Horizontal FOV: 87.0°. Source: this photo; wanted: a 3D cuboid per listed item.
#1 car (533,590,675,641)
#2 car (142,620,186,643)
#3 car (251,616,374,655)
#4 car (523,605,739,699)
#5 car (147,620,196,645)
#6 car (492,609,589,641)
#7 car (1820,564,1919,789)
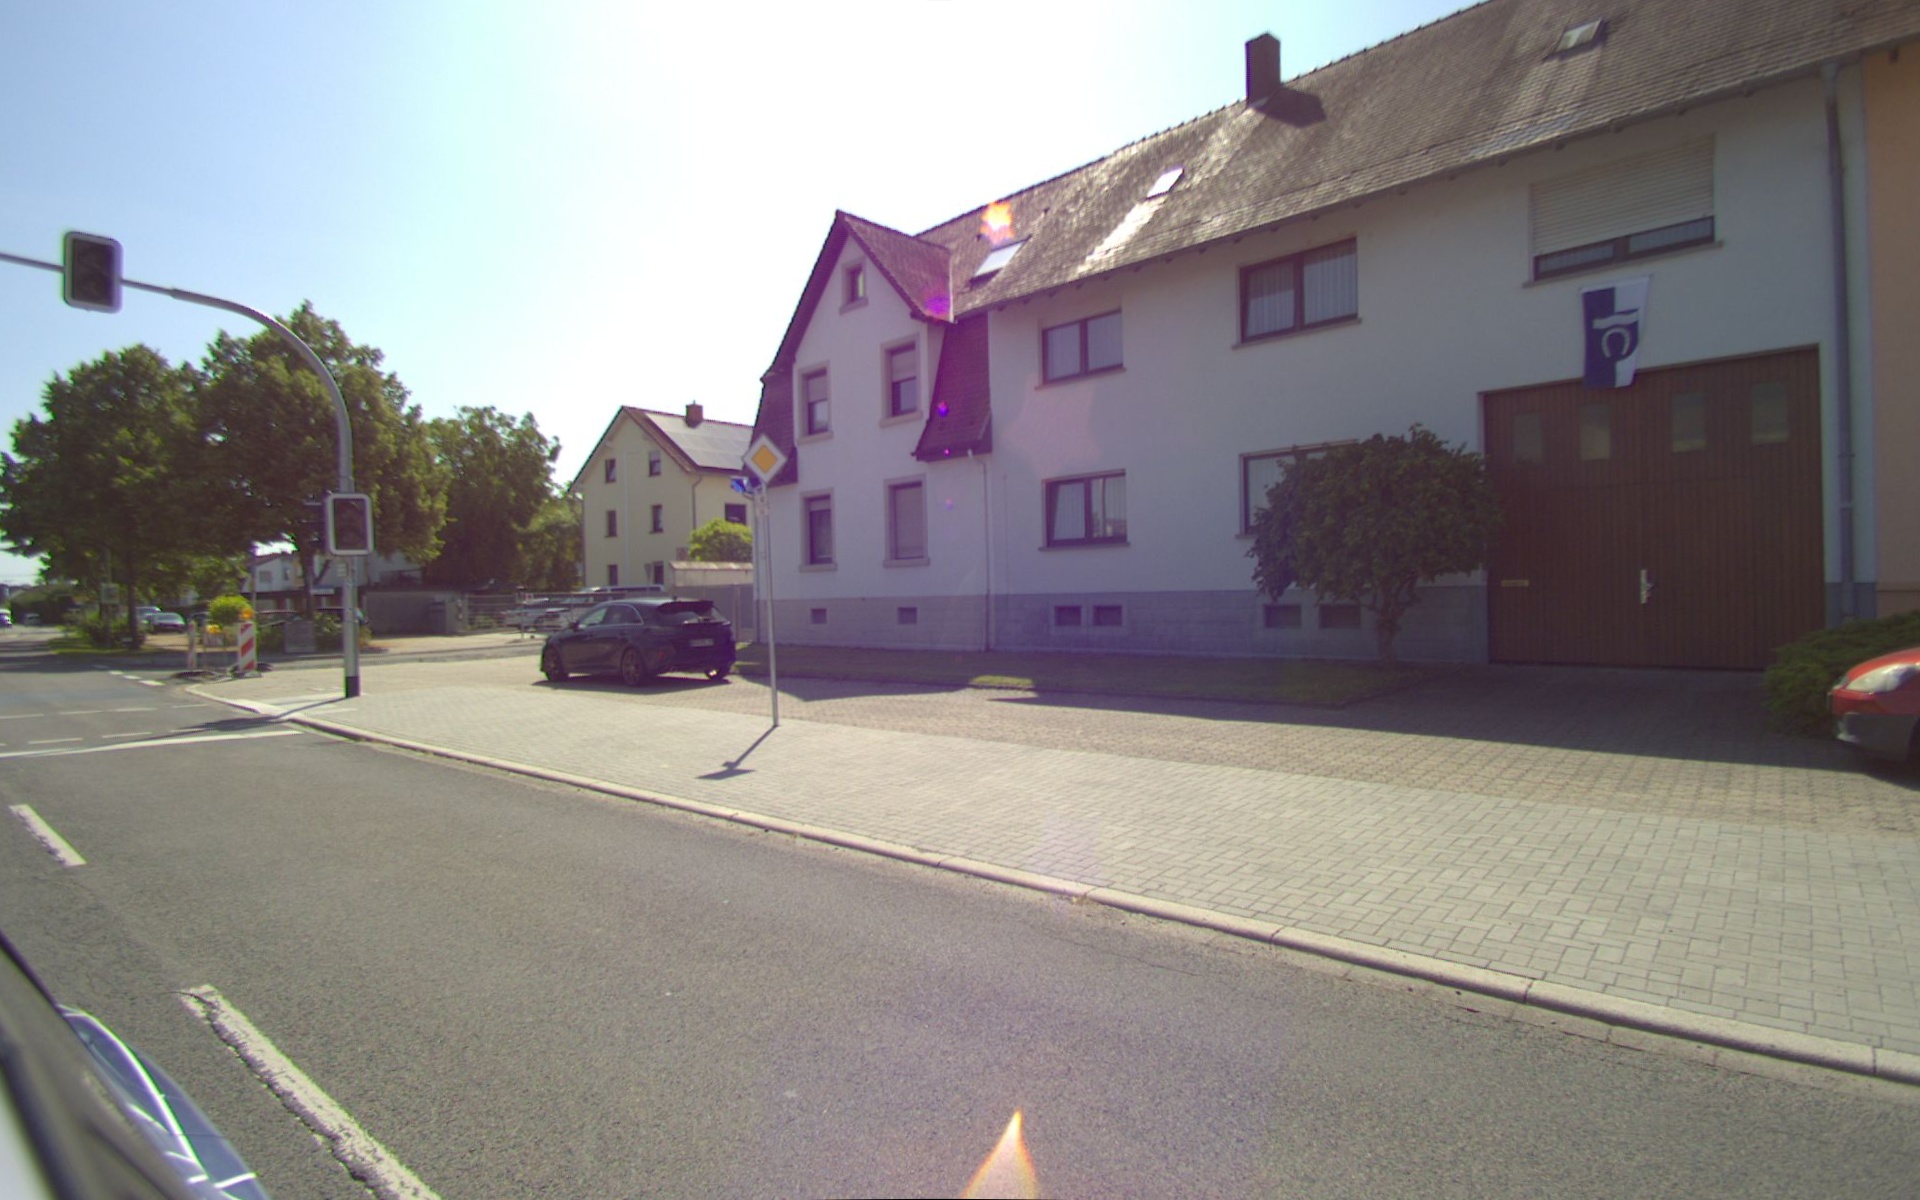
[{"bbox_3d":[-15.233,0.648,43.626,1.998,2.061,5.553,-2,-1,40],"label":"car"},{"bbox_3d":[-55.905,2.213,71.027,4.002,1.516,1.971,-2,-1,45],"label":"car"},{"bbox_3d":[-27.032,1.460,42.368,3.932,1.516,2.006,-1,-1,-16],"label":"car"},{"bbox_3d":[-5.860,0.819,17.740,4.398,1.418,1.696,0,-1,43],"label":"car"},{"bbox_3d":[-50.025,2.055,64.186,4.002,1.516,1.971,-2,-1,45],"label":"car"},{"bbox_3d":[-20.614,1.213,49.857,1.999,1.516,3.945,-2,-1,41],"label":"car"},{"bbox_3d":[7.945,0.427,6.281,3.912,1.464,1.697,-3,0,41],"label":"car"}]
